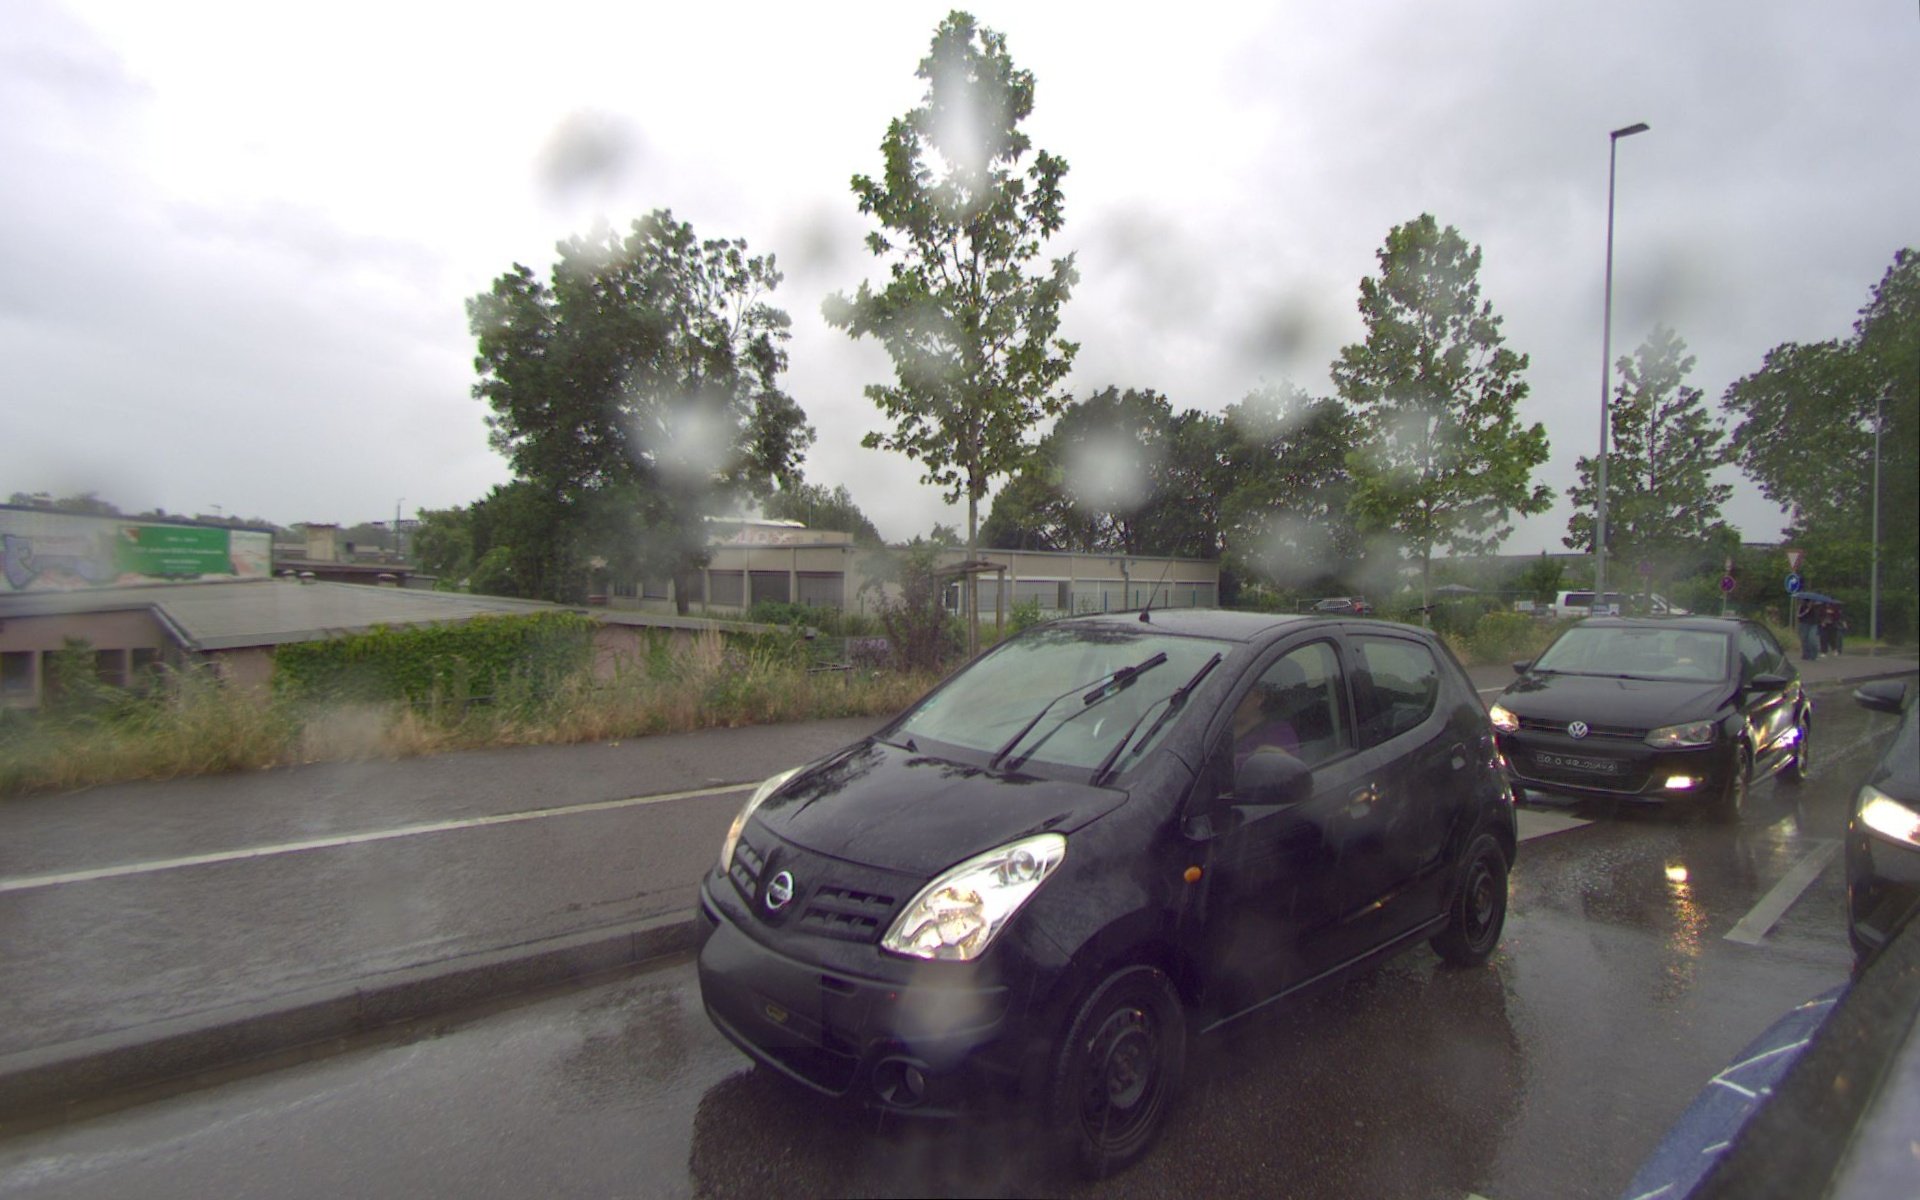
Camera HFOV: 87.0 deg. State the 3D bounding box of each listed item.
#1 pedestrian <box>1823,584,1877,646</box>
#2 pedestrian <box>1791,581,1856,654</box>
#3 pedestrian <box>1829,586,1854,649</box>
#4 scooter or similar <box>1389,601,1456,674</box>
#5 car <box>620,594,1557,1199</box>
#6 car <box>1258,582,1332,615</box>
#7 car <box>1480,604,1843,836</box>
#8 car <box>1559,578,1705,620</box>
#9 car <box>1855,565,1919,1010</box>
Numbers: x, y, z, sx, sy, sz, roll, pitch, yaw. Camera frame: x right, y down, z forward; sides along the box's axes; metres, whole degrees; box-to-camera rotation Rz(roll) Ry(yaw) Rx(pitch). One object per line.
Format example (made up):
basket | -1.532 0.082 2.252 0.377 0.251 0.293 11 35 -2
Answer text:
pedestrian | 26.008 0.416 29.573 0.876 1.729 1.024 0 3 -41
pedestrian | 22.134 0.420 25.941 0.953 1.777 1.081 0 3 -42
pedestrian | 23.781 0.467 27.297 0.433 1.682 0.400 0 3 -42
scooter or similar | 7.902 0.614 17.247 1.747 1.144 0.380 -1 2 -43
car | 0.760 0.718 3.863 3.561 1.447 1.631 0 0 -42
car | 21.001 -0.110 63.476 1.964 2.039 3.996 0 0 -38
car | 5.757 0.764 8.158 3.561 1.447 1.631 0 0 -42
car | 27.994 -0.060 42.274 1.966 1.670 4.752 -1 1 -42
car | 5.441 0.659 4.483 4.091 1.607 1.688 -1 0 -41
